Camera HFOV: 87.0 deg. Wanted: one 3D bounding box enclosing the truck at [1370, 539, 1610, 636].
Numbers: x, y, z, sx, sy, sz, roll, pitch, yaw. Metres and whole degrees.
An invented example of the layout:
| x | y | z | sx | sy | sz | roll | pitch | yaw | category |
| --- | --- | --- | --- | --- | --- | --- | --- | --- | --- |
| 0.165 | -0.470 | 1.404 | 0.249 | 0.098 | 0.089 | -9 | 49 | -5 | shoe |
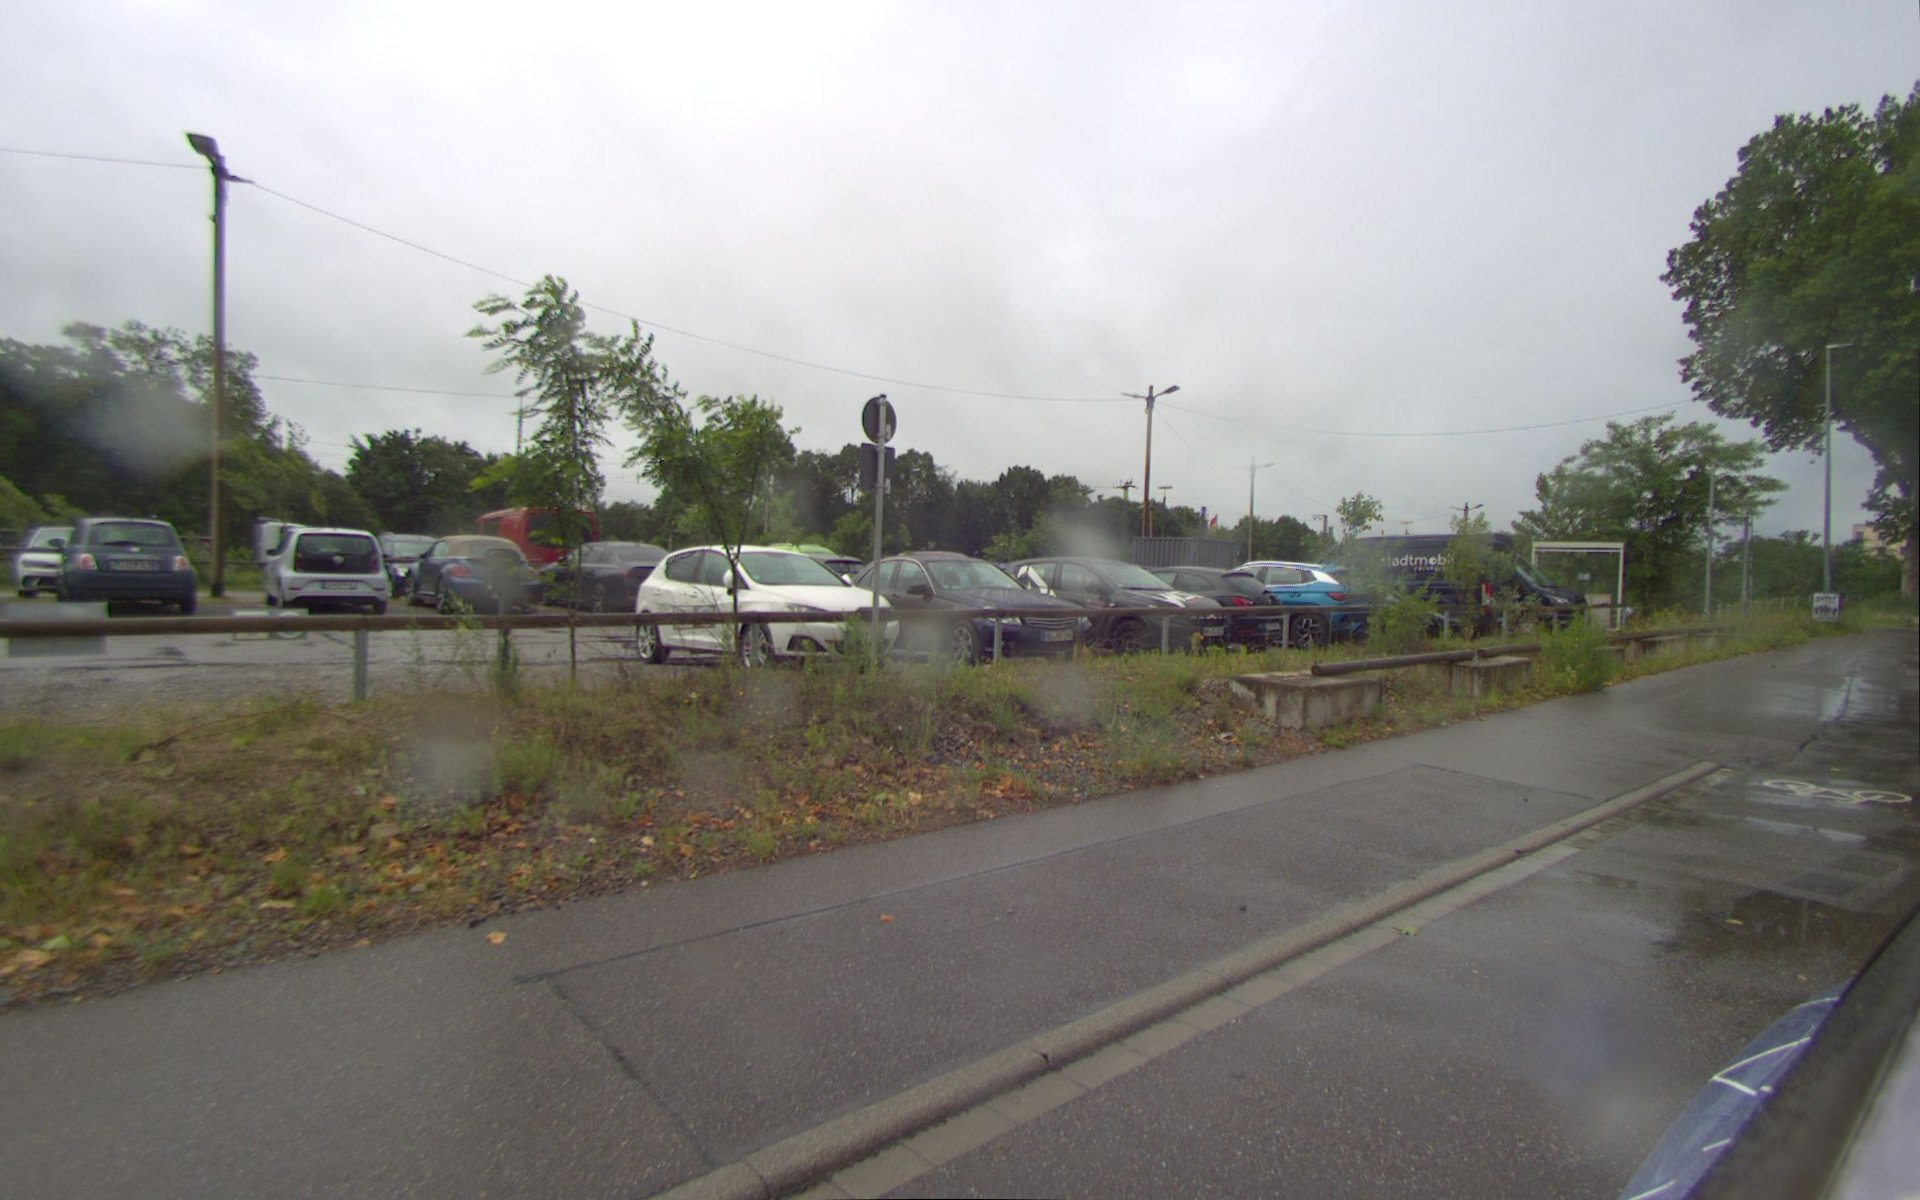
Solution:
| x | y | z | sx | sy | sz | roll | pitch | yaw | category |
| --- | --- | --- | --- | --- | --- | --- | --- | --- | --- |
| 14.094 | -0.367 | 27.230 | 2.038 | 2.352 | 5.339 | 0 | 1 | -41 | truck |

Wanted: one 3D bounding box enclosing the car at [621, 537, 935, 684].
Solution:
| x | y | z | sx | sy | sz | roll | pitch | yaw | category |
| --- | --- | --- | --- | --- | --- | --- | --- | --- | --- |
| -2.228 | 0.045 | 11.783 | 1.874 | 1.410 | 3.775 | -1 | 2 | -43 | car |

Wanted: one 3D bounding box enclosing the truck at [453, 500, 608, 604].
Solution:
| x | y | z | sx | sy | sz | roll | pitch | yaw | category |
| --- | --- | --- | --- | --- | --- | --- | --- | --- | --- |
| -11.150 | -1.239 | 26.028 | 2.116 | 2.397 | 5.299 | 0 | 2 | -41 | truck |

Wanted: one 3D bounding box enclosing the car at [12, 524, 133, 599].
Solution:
| x | y | z | sx | sy | sz | roll | pitch | yaw | category |
| --- | --- | --- | --- | --- | --- | --- | --- | --- | --- |
| -17.497 | -0.799 | 20.011 | 1.647 | 1.336 | 3.995 | 0 | 3 | -41 | car |

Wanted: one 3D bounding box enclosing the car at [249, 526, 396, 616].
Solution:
| x | y | z | sx | sy | sz | roll | pitch | yaw | category |
| --- | --- | --- | --- | --- | --- | --- | --- | --- | --- |
| -11.701 | -0.594 | 18.467 | 1.853 | 1.444 | 3.963 | -1 | 4 | -39 | car |

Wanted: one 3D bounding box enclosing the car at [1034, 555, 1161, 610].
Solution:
| x | y | z | sx | sy | sz | roll | pitch | yaw | category |
| --- | --- | --- | --- | --- | --- | --- | --- | --- | --- |
| 4.438 | -0.617 | 33.071 | 1.774 | 1.555 | 3.963 | -1 | 4 | -39 | car |

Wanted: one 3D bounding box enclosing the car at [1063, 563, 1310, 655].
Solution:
| x | y | z | sx | sy | sz | roll | pitch | yaw | category |
| --- | --- | --- | --- | --- | --- | --- | --- | --- | --- |
| 3.824 | 0.088 | 17.564 | 1.750 | 1.412 | 3.899 | -1 | 2 | -43 | car |

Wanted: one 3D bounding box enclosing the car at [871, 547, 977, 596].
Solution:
| x | y | z | sx | sy | sz | roll | pitch | yaw | category |
| --- | --- | --- | --- | --- | --- | --- | --- | --- | --- |
| -1.340 | -1.045 | 36.488 | 1.734 | 1.660 | 3.996 | 0 | 2 | -39 | car |

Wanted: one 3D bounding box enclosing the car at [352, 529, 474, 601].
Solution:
| x | y | z | sx | sy | sz | roll | pitch | yaw | category |
| --- | --- | --- | --- | --- | --- | --- | --- | --- | --- |
| -13.216 | -0.864 | 24.353 | 1.739 | 1.593 | 3.995 | 0 | 2 | -41 | car |

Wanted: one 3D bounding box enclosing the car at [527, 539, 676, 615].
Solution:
| x | y | z | sx | sy | sz | roll | pitch | yaw | category |
| --- | --- | --- | --- | --- | --- | --- | --- | --- | --- |
| -7.835 | -0.560 | 21.886 | 1.853 | 1.444 | 3.963 | -1 | 4 | -39 | car |

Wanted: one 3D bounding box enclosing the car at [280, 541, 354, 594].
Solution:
| x | y | z | sx | sy | sz | roll | pitch | yaw | category |
| --- | --- | --- | --- | --- | --- | --- | --- | --- | --- |
| -20.427 | -1.053 | 32.074 | 1.602 | 1.559 | 3.905 | 0 | 2 | -38 | car |

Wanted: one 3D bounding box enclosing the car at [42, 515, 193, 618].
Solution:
| x | y | z | sx | sy | sz | roll | pitch | yaw | category |
| --- | --- | --- | --- | --- | --- | --- | --- | --- | --- |
| -13.982 | -0.627 | 16.921 | 1.746 | 1.508 | 3.963 | -1 | 4 | -39 | car |

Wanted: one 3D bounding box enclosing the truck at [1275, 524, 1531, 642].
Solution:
| x | y | z | sx | sy | sz | roll | pitch | yaw | category |
| --- | --- | --- | --- | --- | --- | --- | --- | --- | --- |
| 10.125 | -0.410 | 23.461 | 2.075 | 2.432 | 5.038 | 0 | 1 | -43 | truck |

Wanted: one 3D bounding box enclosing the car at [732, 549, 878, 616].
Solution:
| x | y | z | sx | sy | sz | roll | pitch | yaw | category |
| --- | --- | --- | --- | --- | --- | --- | --- | --- | --- |
| -3.928 | -0.489 | 25.190 | 1.853 | 1.444 | 3.963 | -1 | 4 | -39 | car |

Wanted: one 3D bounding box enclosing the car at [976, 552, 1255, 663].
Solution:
| x | y | z | sx | sy | sz | roll | pitch | yaw | category |
| --- | --- | --- | --- | --- | --- | --- | --- | --- | --- |
| 2.214 | 0.046 | 15.134 | 1.750 | 1.440 | 3.899 | -1 | 2 | -43 | car |

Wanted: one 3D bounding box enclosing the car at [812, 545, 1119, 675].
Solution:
| x | y | z | sx | sy | sz | roll | pitch | yaw | category |
| --- | --- | --- | --- | --- | --- | --- | --- | --- | --- |
| -0.045 | 0.055 | 13.231 | 1.874 | 1.440 | 3.899 | -1 | 2 | -43 | car |

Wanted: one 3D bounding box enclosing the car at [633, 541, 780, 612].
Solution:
| x | y | z | sx | sy | sz | roll | pitch | yaw | category |
| --- | --- | --- | --- | --- | --- | --- | --- | --- | --- |
| -5.994 | -0.607 | 23.655 | 1.853 | 1.444 | 3.963 | -1 | 4 | -39 | car |

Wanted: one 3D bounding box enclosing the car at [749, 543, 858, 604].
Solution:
| x | y | z | sx | sy | sz | roll | pitch | yaw | category |
| --- | --- | --- | --- | --- | --- | --- | --- | --- | --- |
| -5.030 | -0.849 | 32.119 | 1.763 | 1.822 | 3.999 | 0 | 2 | -37 | car |

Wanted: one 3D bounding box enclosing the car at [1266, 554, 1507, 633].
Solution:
| x | y | z | sx | sy | sz | roll | pitch | yaw | category |
| --- | --- | --- | --- | --- | --- | --- | --- | --- | --- |
| 8.604 | -0.178 | 20.654 | 1.833 | 1.437 | 4.163 | -1 | 2 | -43 | car |

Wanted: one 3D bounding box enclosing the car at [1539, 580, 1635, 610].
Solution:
| x | y | z | sx | sy | sz | roll | pitch | yaw | category |
| --- | --- | --- | --- | --- | --- | --- | --- | --- | --- |
| 34.725 | -0.293 | 56.098 | 4.373 | 1.447 | 1.851 | 3 | 2 | 38 | car |

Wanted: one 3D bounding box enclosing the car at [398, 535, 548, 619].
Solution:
| x | y | z | sx | sy | sz | roll | pitch | yaw | category |
| --- | --- | --- | --- | --- | --- | --- | --- | --- | --- |
| -9.693 | -0.513 | 19.994 | 1.853 | 1.444 | 3.963 | -1 | 4 | -39 | car |

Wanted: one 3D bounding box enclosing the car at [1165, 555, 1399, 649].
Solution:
| x | y | z | sx | sy | sz | roll | pitch | yaw | category |
| --- | --- | --- | --- | --- | --- | --- | --- | --- | --- |
| 6.117 | -0.016 | 19.507 | 1.865 | 1.614 | 3.899 | -1 | 2 | -43 | car |

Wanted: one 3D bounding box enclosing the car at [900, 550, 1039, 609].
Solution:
| x | y | z | sx | sy | sz | roll | pitch | yaw | category |
| --- | --- | --- | --- | --- | --- | --- | --- | --- | --- |
| 0.206 | -0.638 | 29.646 | 1.891 | 1.508 | 4.077 | -1 | 4 | -39 | car |
